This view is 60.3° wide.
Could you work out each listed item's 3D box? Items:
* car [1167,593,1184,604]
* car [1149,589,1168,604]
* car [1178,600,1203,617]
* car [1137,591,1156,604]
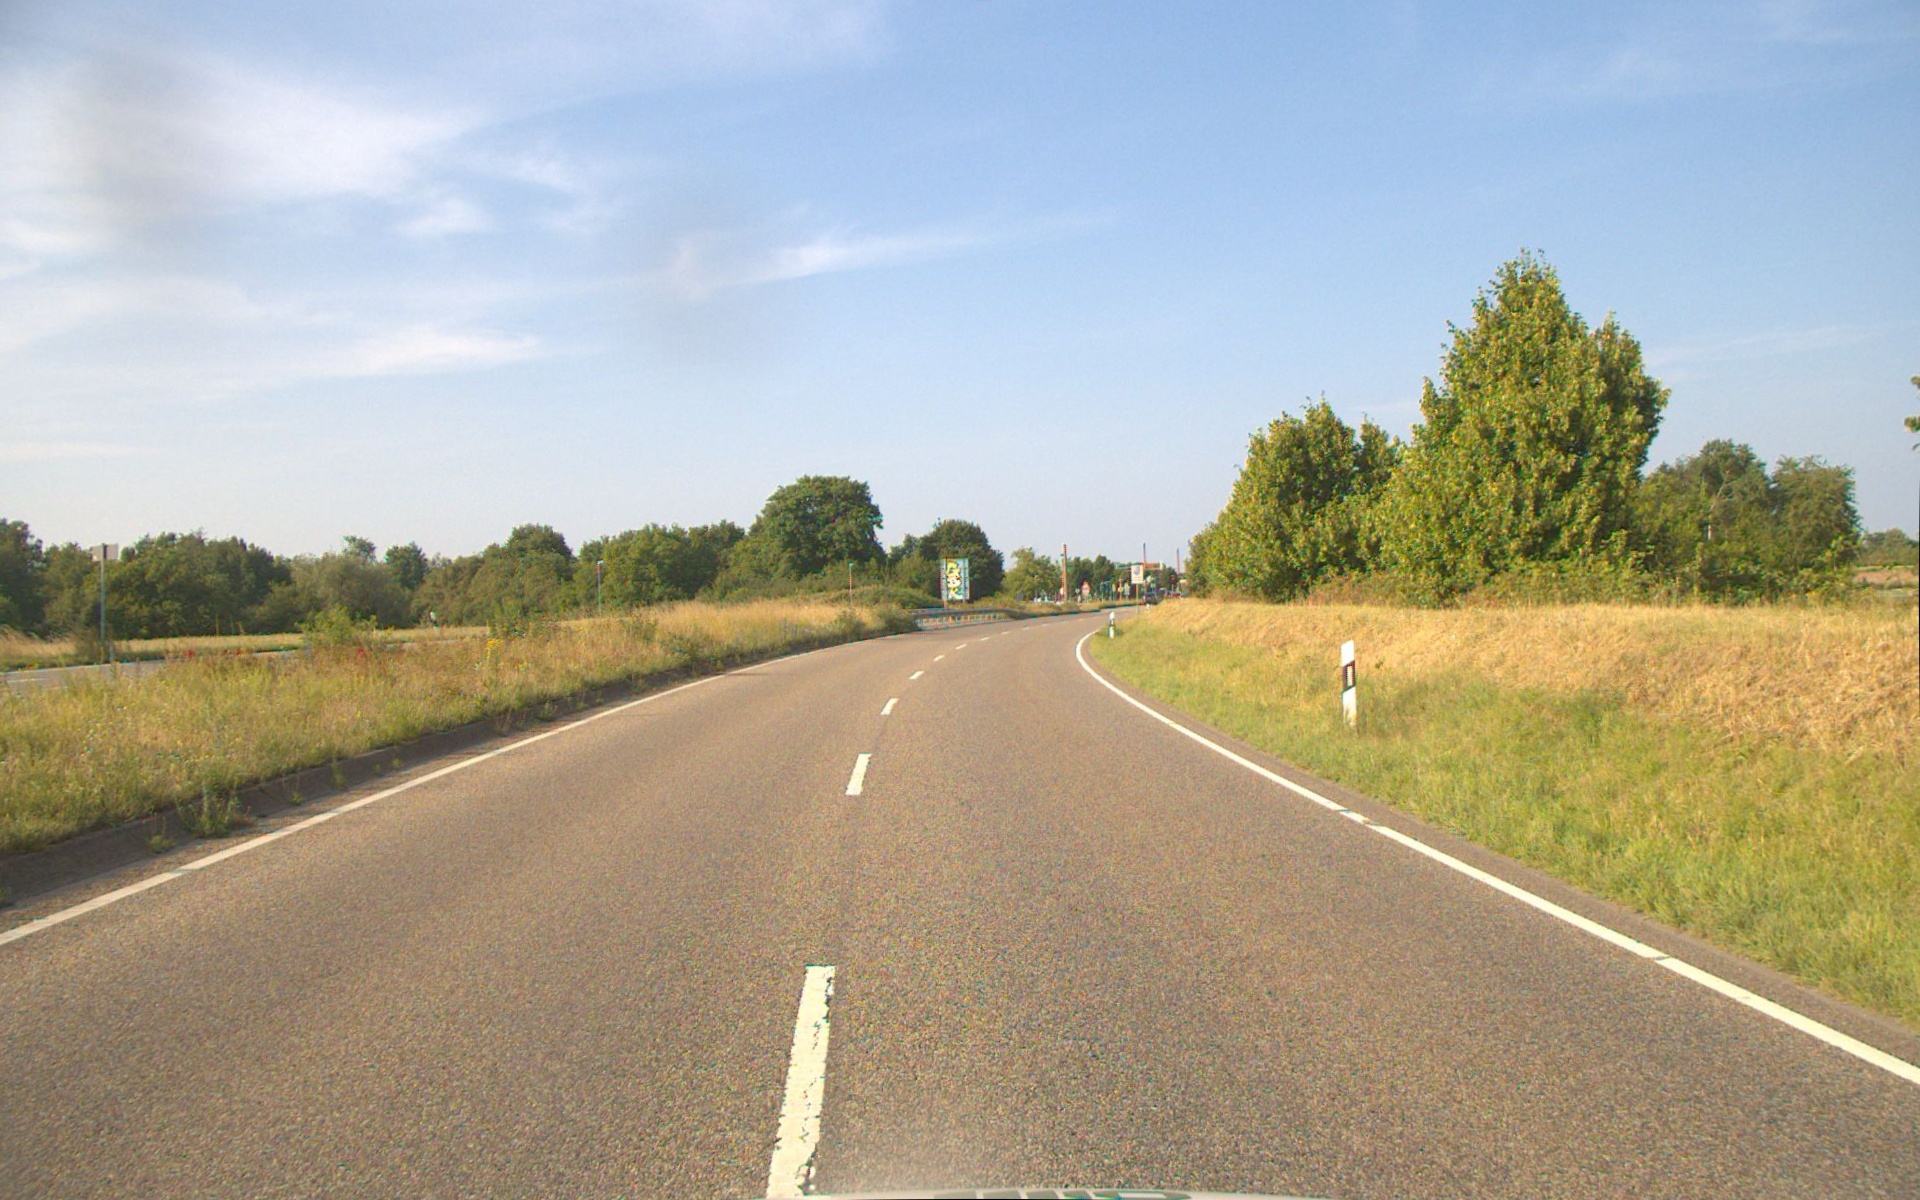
[{"bbox_3d":[28.697,-0.222,220.296,1.732,1.497,4.018,-1,0,14],"label":"car"},{"bbox_3d":[24.389,-0.424,203.356,1.695,1.888,4.523,-1,0,14],"label":"car"},{"bbox_3d":[22.293,0.782,160.141,1.951,1.579,4.003,-1,0,14],"label":"car"},{"bbox_3d":[22.202,-0.326,196.559,1.695,1.481,4.523,-1,0,14],"label":"car"}]
